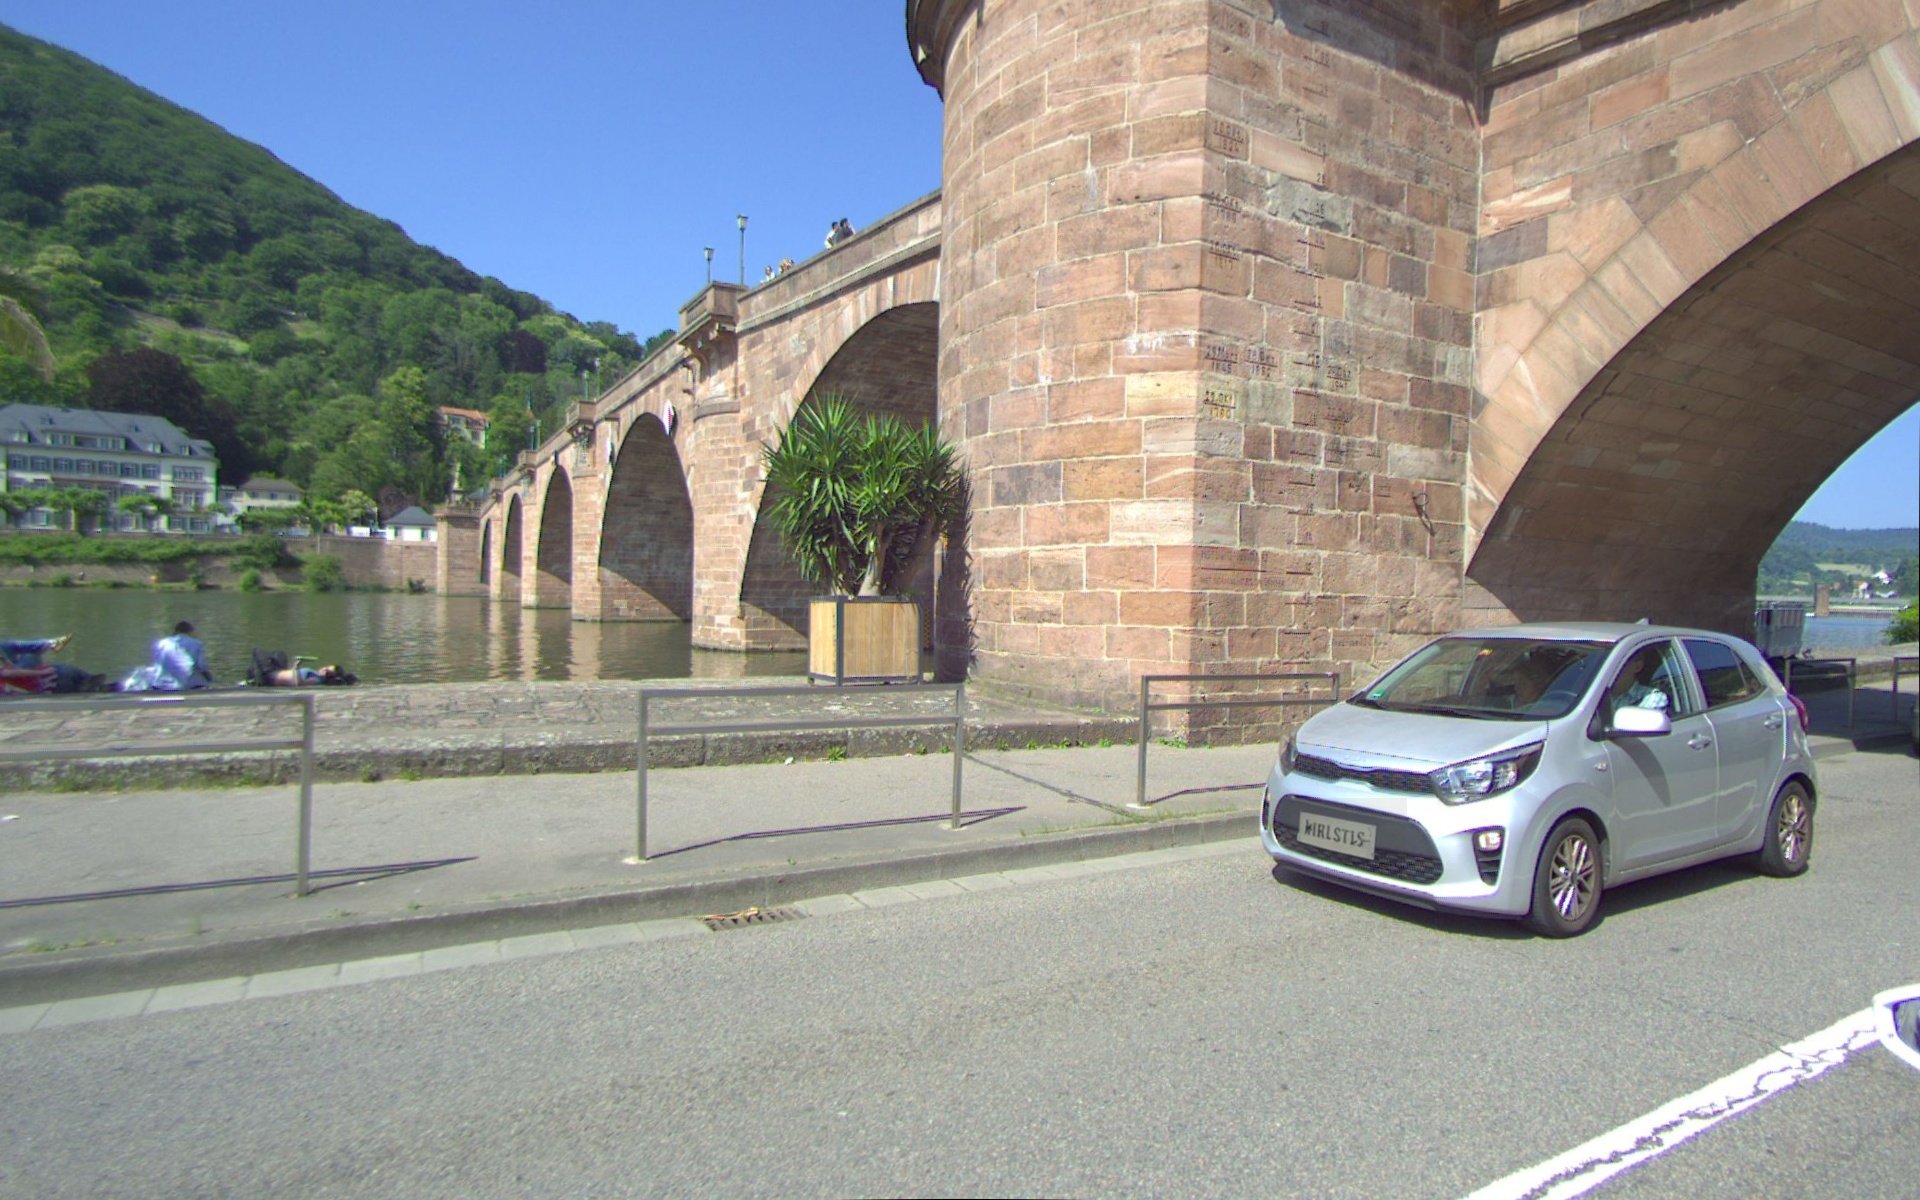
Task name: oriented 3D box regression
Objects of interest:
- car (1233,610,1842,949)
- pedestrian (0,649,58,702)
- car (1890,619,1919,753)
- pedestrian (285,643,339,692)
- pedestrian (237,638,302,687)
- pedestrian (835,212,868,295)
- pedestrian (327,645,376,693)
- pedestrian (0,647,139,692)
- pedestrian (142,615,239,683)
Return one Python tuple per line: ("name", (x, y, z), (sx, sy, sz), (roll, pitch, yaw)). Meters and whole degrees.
("car", (3.502, 0.826, 5.934), (3.685, 1.456, 1.527), (2, -1, -31))
("pedestrian", (-10.373, 0.832, 11.050), (0.507, 0.571, 0.463), (2, -4, -21))
("car", (12.637, 0.974, 11.571), (4.350, 1.456, 1.714), (1, -1, -31))
("pedestrian", (-8.230, 0.854, 12.769), (0.425, 0.572, 0.544), (1, 1, -17))
("pedestrian", (-8.674, 0.778, 12.637), (0.524, 0.572, 0.544), (1, 1, -17))
("pedestrian", (-3.080, -9.824, 28.513), (0.619, 2.040, 0.688), (2, 0, -34))
("pedestrian", (-7.836, 0.878, 12.943), (0.408, 0.572, 0.544), (1, 1, -17))
("pedestrian", (-9.613, 0.705, 10.328), (1.721, 0.427, 0.642), (1, -1, -30))
("pedestrian", (-9.138, 0.575, 11.960), (0.700, 0.753, 0.785), (1, 1, -21))
